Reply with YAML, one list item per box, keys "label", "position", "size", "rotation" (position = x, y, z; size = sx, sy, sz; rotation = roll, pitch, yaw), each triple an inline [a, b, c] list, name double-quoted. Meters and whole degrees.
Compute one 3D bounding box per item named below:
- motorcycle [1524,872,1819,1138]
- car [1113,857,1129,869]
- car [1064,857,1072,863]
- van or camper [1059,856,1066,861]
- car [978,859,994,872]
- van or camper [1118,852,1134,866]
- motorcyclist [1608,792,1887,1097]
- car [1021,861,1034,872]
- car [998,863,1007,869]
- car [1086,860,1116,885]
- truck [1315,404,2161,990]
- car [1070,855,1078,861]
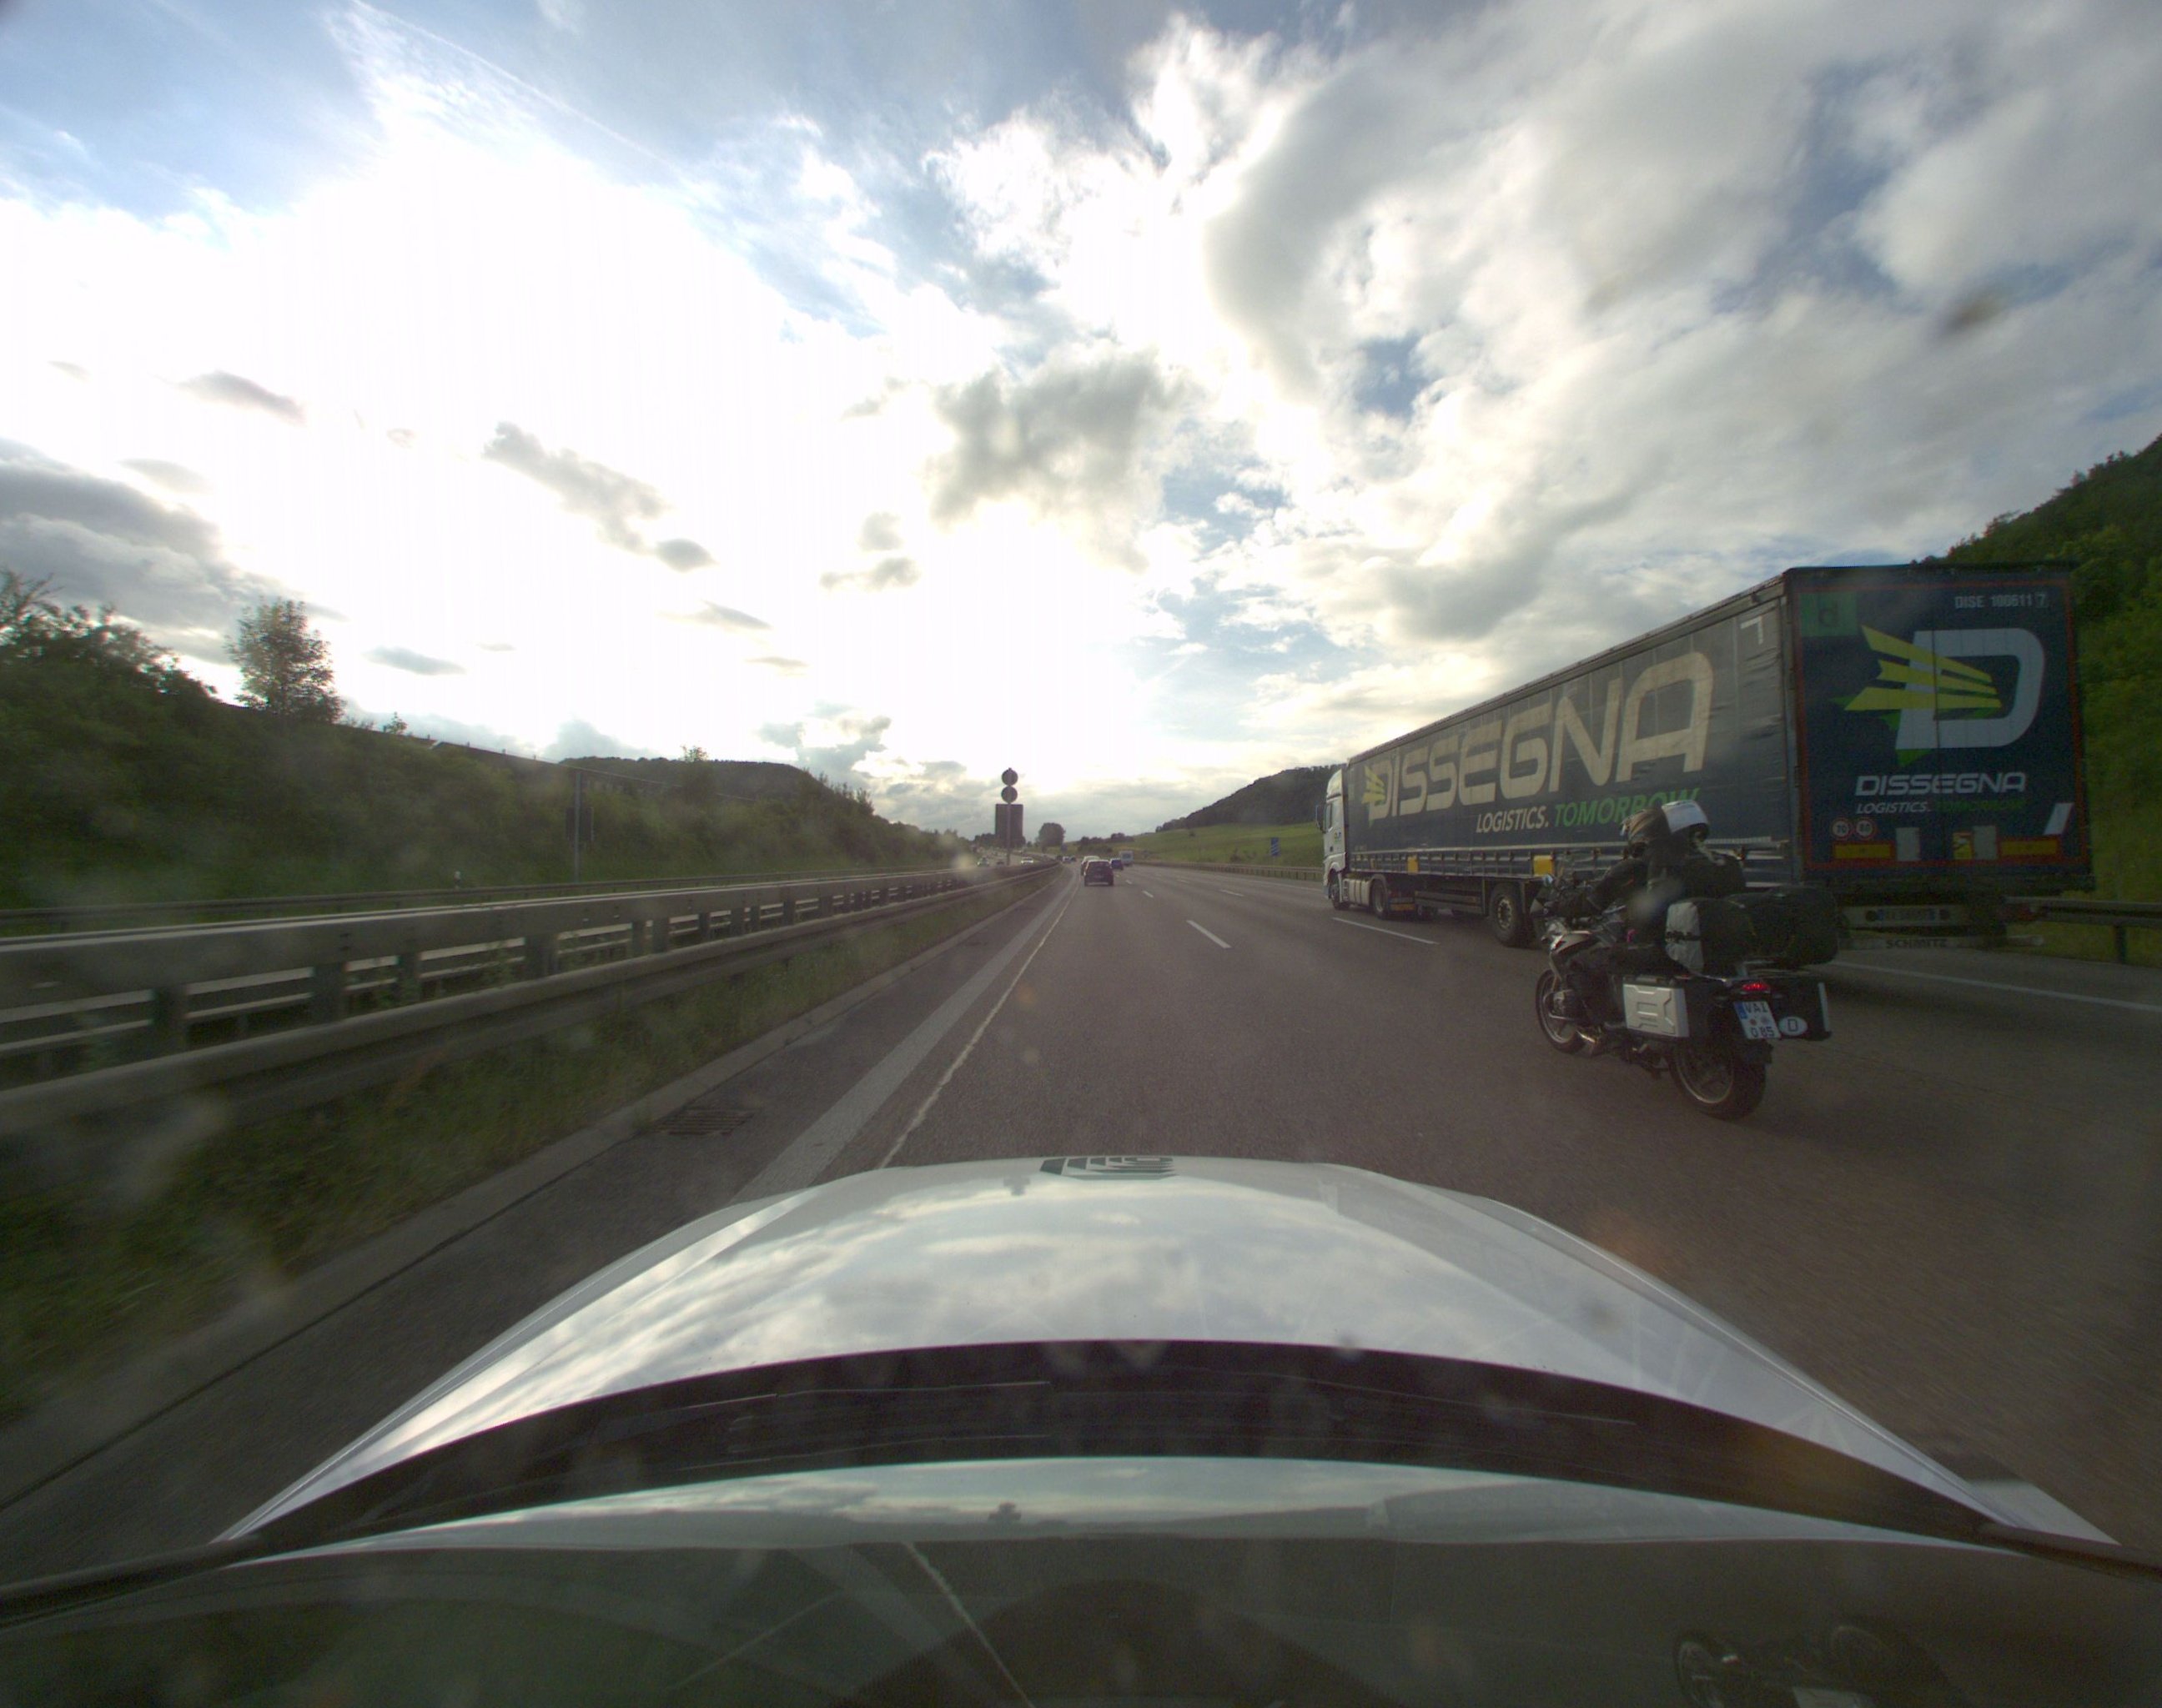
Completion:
- label: "motorcycle"
  position: [3.543, 0.804, 5.105]
  size: [0.624, 1.339, 1.740]
  rotation: [-1, 0, 3]
- label: "car"
  position: [4.854, 1.079, 98.421]
  size: [1.761, 1.433, 3.999]
  rotation: [-1, 0, 0]
- label: "car"
  position: [-3.039, 1.458, 189.377]
  size: [1.764, 1.433, 3.992]
  rotation: [-1, 0, -5]
- label: "van or camper"
  position: [-5.255, 1.246, 229.932]
  size: [1.960, 1.433, 3.999]
  rotation: [0, 0, 0]
- label: "car"
  position: [-15.251, 1.879, 130.891]
  size: [1.957, 2.040, 5.017]
  rotation: [-2, -1, -1]
- label: "van or camper"
  position: [7.552, 0.792, 136.637]
  size: [2.537, 2.239, 5.334]
  rotation: [-1, 0, 3]
- label: "motorcyclist"
  position: [3.583, 0.455, 4.469]
  size: [0.873, 1.515, 0.798]
  rotation: [0, -1, 4]
- label: "car"
  position: [-8.404, 1.985, 128.340]
  size: [1.827, 1.591, 5.017]
  rotation: [0, -1, -1]
- label: "car"
  position: [-17.777, 2.683, 184.335]
  size: [1.702, 1.415, 3.996]
  rotation: [-1, -1, -2]
- label: "car"
  position: [1.148, 1.042, 46.355]
  size: [1.531, 1.348, 3.680]
  rotation: [-1, 0, 4]
- label: "truck"
  position: [7.958, -1.055, 14.420]
  size: [2.953, 3.992, 17.738]
  rotation: [-1, 0, 2]
- label: "car"
  position: [-1.849, 1.143, 222.727]
  size: [1.950, 1.574, 4.002]
  rotation: [-1, 0, 2]
